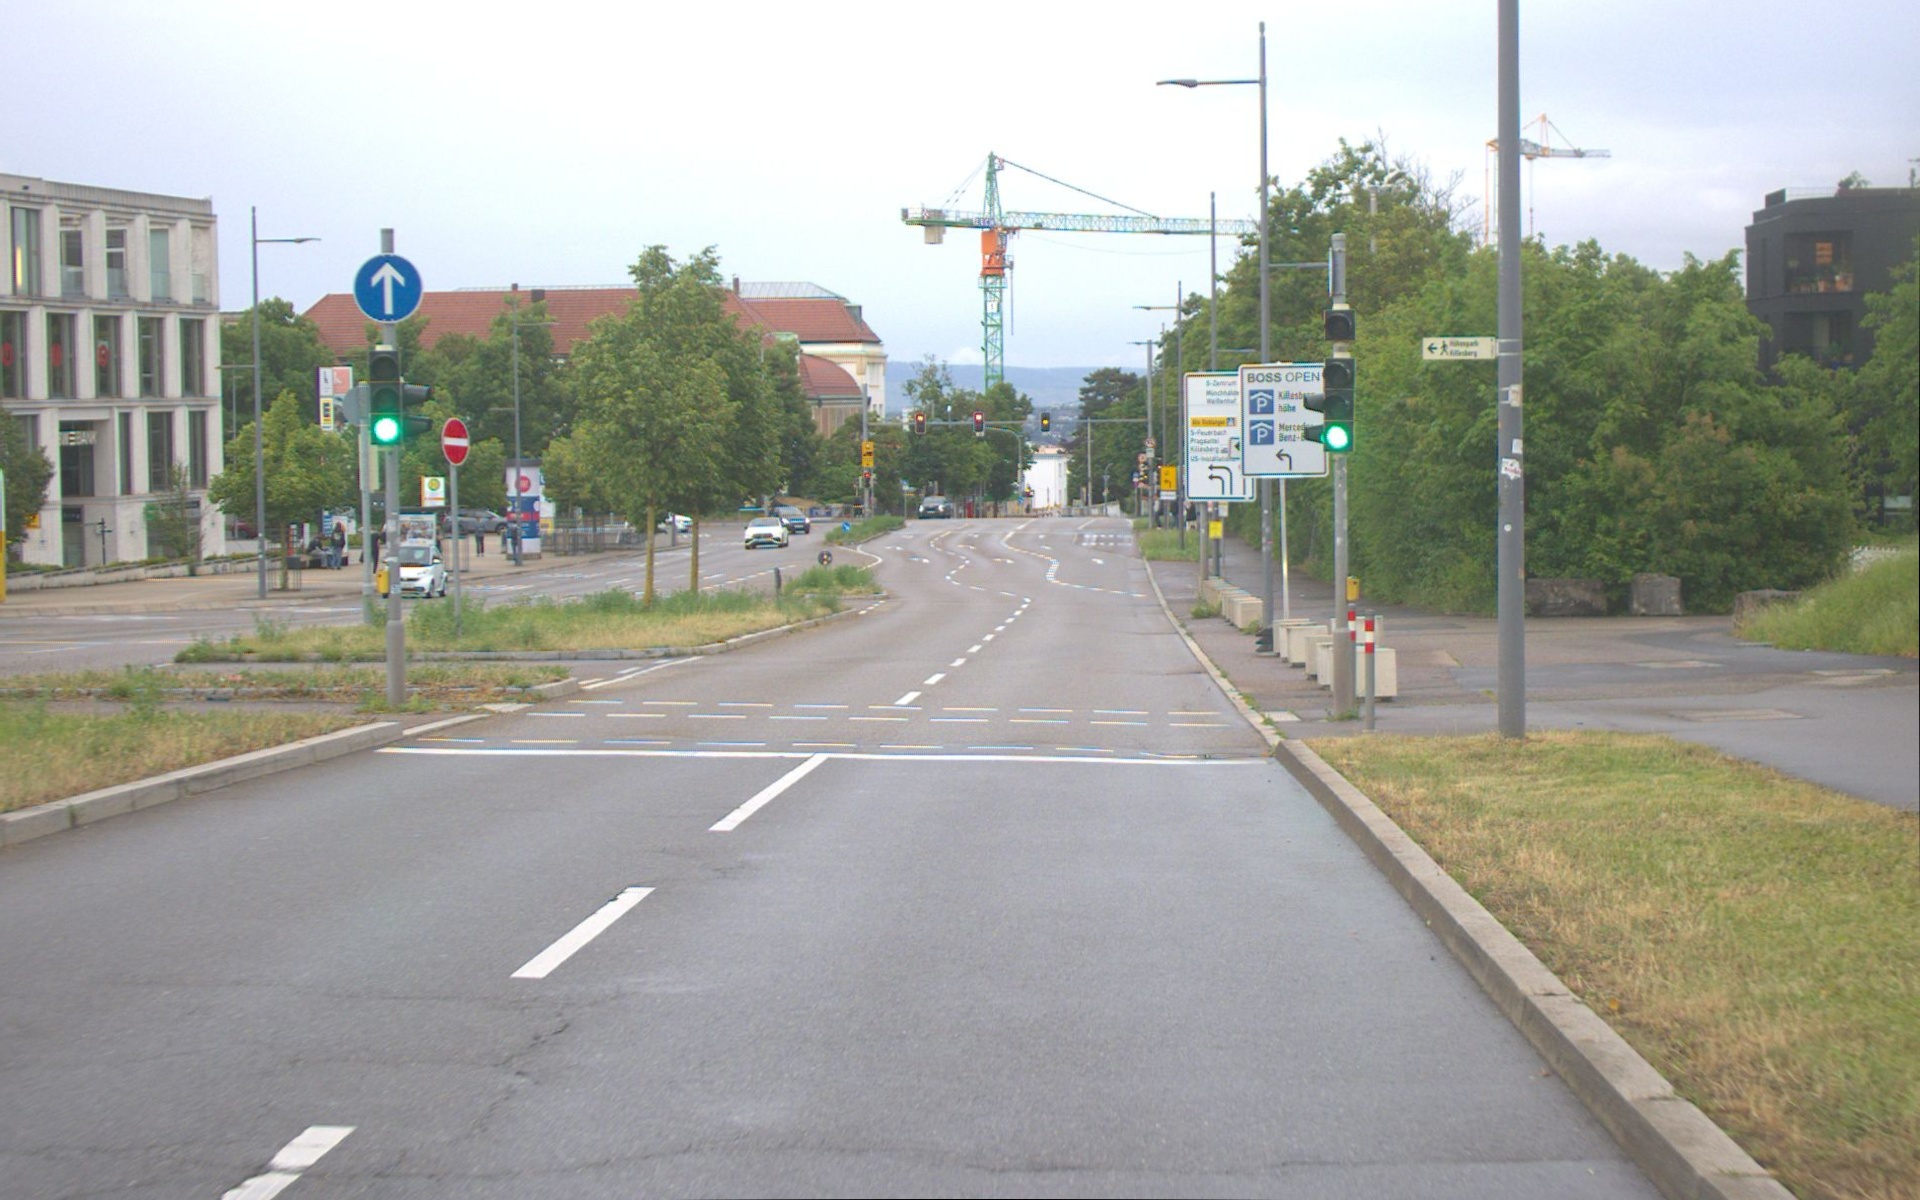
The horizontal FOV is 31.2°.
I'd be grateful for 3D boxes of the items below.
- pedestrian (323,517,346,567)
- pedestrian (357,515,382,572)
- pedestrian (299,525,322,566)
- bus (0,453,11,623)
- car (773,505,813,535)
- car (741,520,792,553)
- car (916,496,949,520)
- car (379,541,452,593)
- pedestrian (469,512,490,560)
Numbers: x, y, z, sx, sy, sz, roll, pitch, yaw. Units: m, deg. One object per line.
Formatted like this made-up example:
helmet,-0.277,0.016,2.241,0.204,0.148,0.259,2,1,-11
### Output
pedestrian,-23.148,-2.142,127.181,0.748,1.846,0.838,0,0,-15
pedestrian,-20.457,-1.956,119.139,0.748,1.940,0.838,0,0,-15
pedestrian,-24.076,-2.014,127.397,0.835,1.527,0.751,0,0,-11
bus,-21.696,-1.238,59.332,2.786,3.346,18.218,-1,0,10
car,-9.178,-4.395,189.016,1.769,1.489,4.069,0,0,-8
car,-9.120,-2.987,162.309,1.770,1.489,4.067,-1,0,6
car,-1.902,-6.379,238.078,1.770,1.489,4.066,-1,0,7
car,-16.089,-0.962,101.651,1.478,1.489,2.529,-1,0,8
pedestrian,-20.304,-2.721,145.353,0.748,2.007,0.838,0,0,-15
